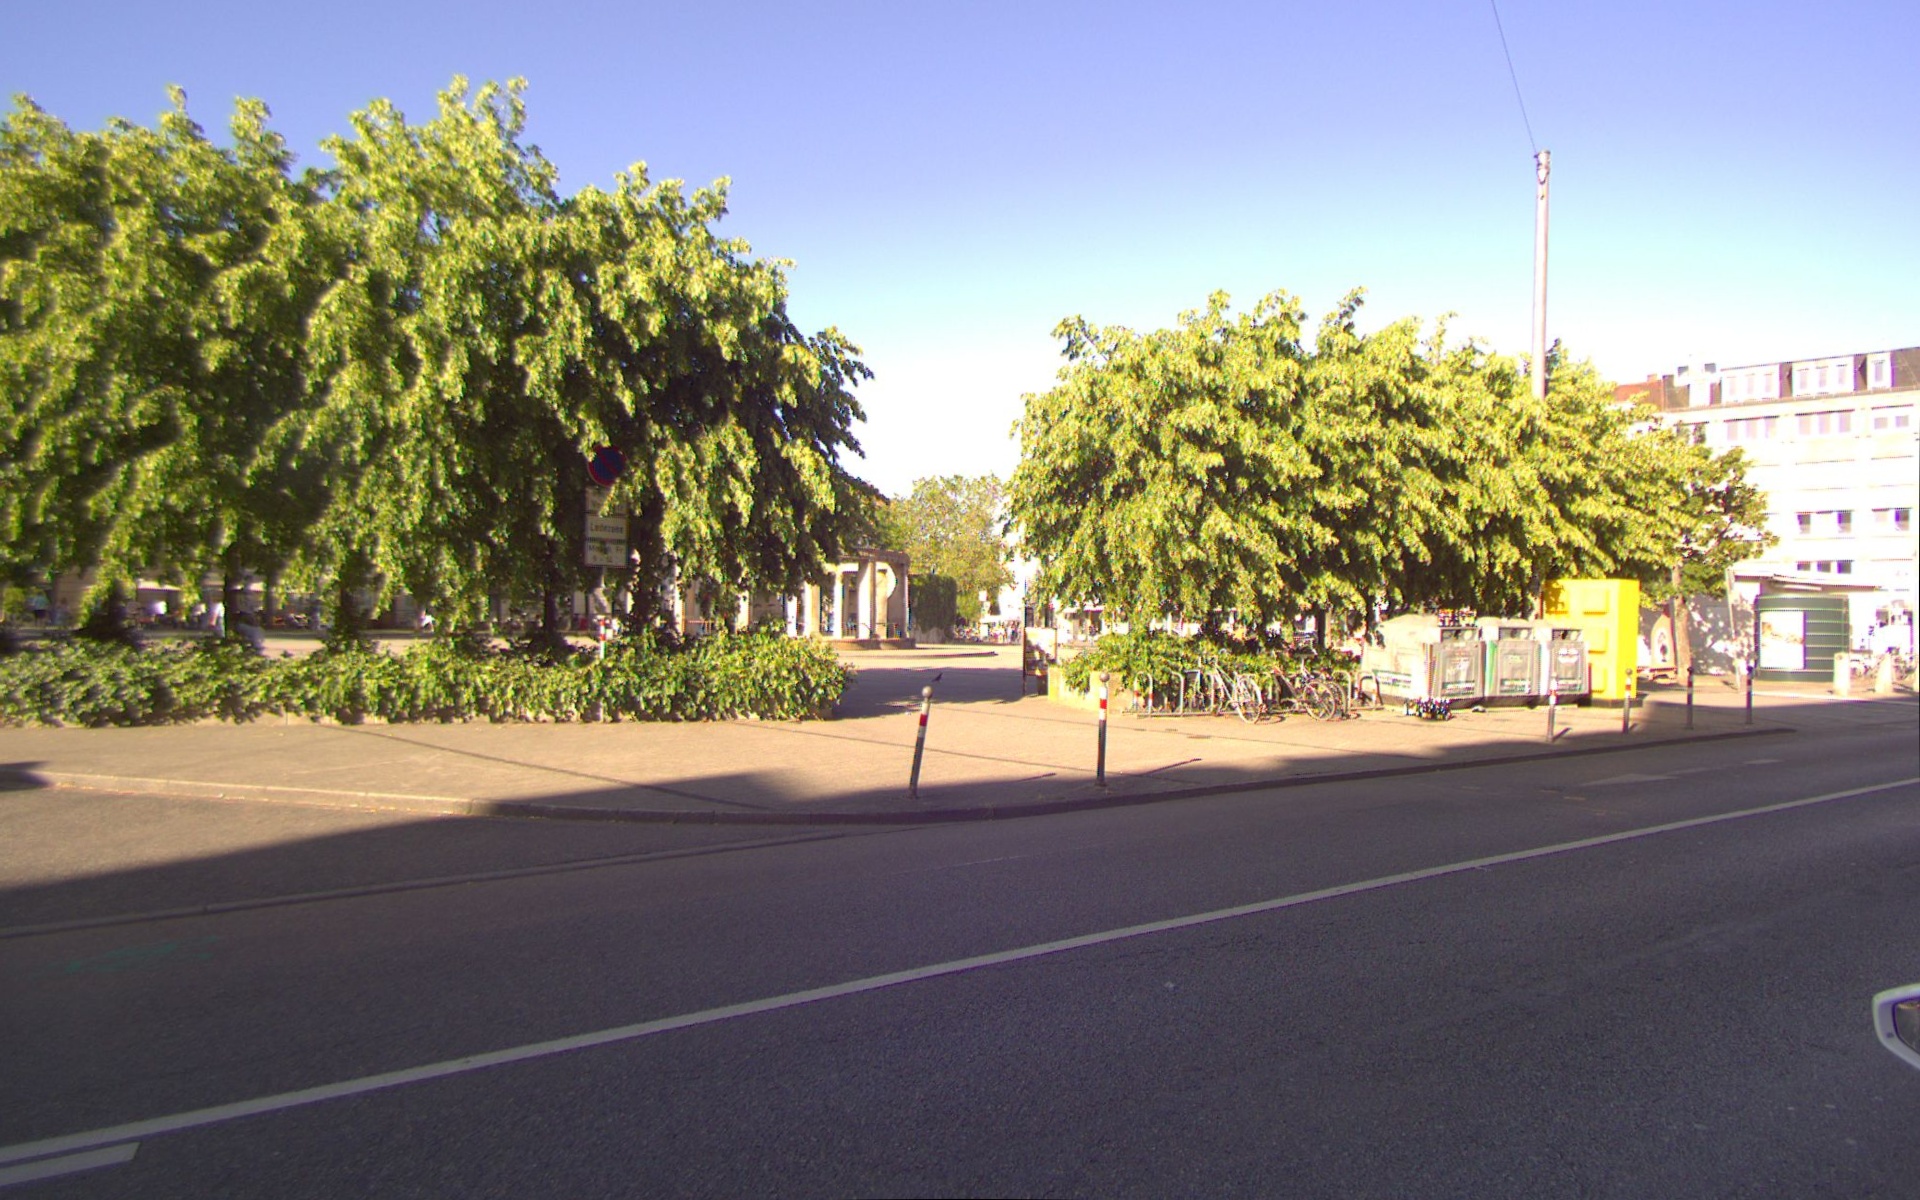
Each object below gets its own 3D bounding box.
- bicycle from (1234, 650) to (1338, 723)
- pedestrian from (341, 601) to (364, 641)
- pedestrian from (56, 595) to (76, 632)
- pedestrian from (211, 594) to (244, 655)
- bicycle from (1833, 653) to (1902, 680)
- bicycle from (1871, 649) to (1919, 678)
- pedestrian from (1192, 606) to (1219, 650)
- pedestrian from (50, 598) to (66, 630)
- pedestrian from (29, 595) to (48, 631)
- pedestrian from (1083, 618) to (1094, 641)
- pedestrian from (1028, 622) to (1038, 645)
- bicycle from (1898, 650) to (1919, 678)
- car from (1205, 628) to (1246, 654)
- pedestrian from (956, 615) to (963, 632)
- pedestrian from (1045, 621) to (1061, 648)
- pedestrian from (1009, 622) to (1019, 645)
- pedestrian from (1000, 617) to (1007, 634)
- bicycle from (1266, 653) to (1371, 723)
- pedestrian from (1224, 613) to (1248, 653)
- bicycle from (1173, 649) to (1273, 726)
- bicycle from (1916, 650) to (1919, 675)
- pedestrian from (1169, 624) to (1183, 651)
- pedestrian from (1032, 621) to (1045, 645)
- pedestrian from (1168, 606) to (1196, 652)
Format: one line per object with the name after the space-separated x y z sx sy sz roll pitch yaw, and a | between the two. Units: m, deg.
5.244 1.367 16.287 0.508 1.016 1.923 2 0 -20 | bicycle
-26.841 0.917 44.371 0.599 1.744 0.644 2 0 37 | pedestrian
-43.199 0.659 48.539 0.600 1.744 0.643 2 0 45 | pedestrian
-21.377 0.714 29.322 0.599 1.744 0.644 2 0 41 | pedestrian
30.810 2.248 34.114 0.600 0.802 1.634 2 0 -33 | bicycle
33.166 2.230 35.121 0.599 0.946 1.855 1 0 -30 | bicycle
11.353 1.294 46.530 0.875 2.040 0.896 1 0 -17 | pedestrian
-43.957 0.685 48.937 0.536 1.521 0.546 2 0 -42 | pedestrian
-44.440 0.620 48.439 0.600 1.744 0.643 2 0 45 | pedestrian
12.679 2.901 99.430 0.860 2.199 0.902 2 0 -5 | pedestrian
6.354 2.900 87.515 0.628 1.974 0.676 2 0 -7 | pedestrian
35.046 2.334 36.098 0.599 0.946 1.854 2 0 -30 | bicycle
15.402 2.339 58.453 1.658 1.405 3.575 1 -1 5 | car
-0.071 2.880 122.979 0.629 1.974 0.675 2 0 -14 | pedestrian
7.336 2.716 78.919 1.014 2.040 1.159 2 0 -5 | pedestrian
4.632 2.875 86.054 0.718 1.862 0.697 2 0 -5 | pedestrian
5.094 3.013 118.803 0.629 1.974 0.675 2 0 -13 | pedestrian
5.814 1.404 16.406 0.508 0.968 1.898 2 0 -20 | bicycle
12.245 1.459 44.612 0.774 1.720 0.763 1 0 -6 | pedestrian
4.058 1.329 15.645 0.508 1.029 1.930 2 0 -19 | bicycle
37.051 2.402 37.521 0.599 0.946 1.854 2 0 -30 | bicycle
14.213 2.440 66.122 0.741 1.740 0.854 1 -1 4 | pedestrian
6.663 2.807 85.380 0.860 2.040 0.902 2 0 -5 | pedestrian
9.877 1.279 44.636 0.875 2.040 0.896 1 0 -17 | pedestrian
